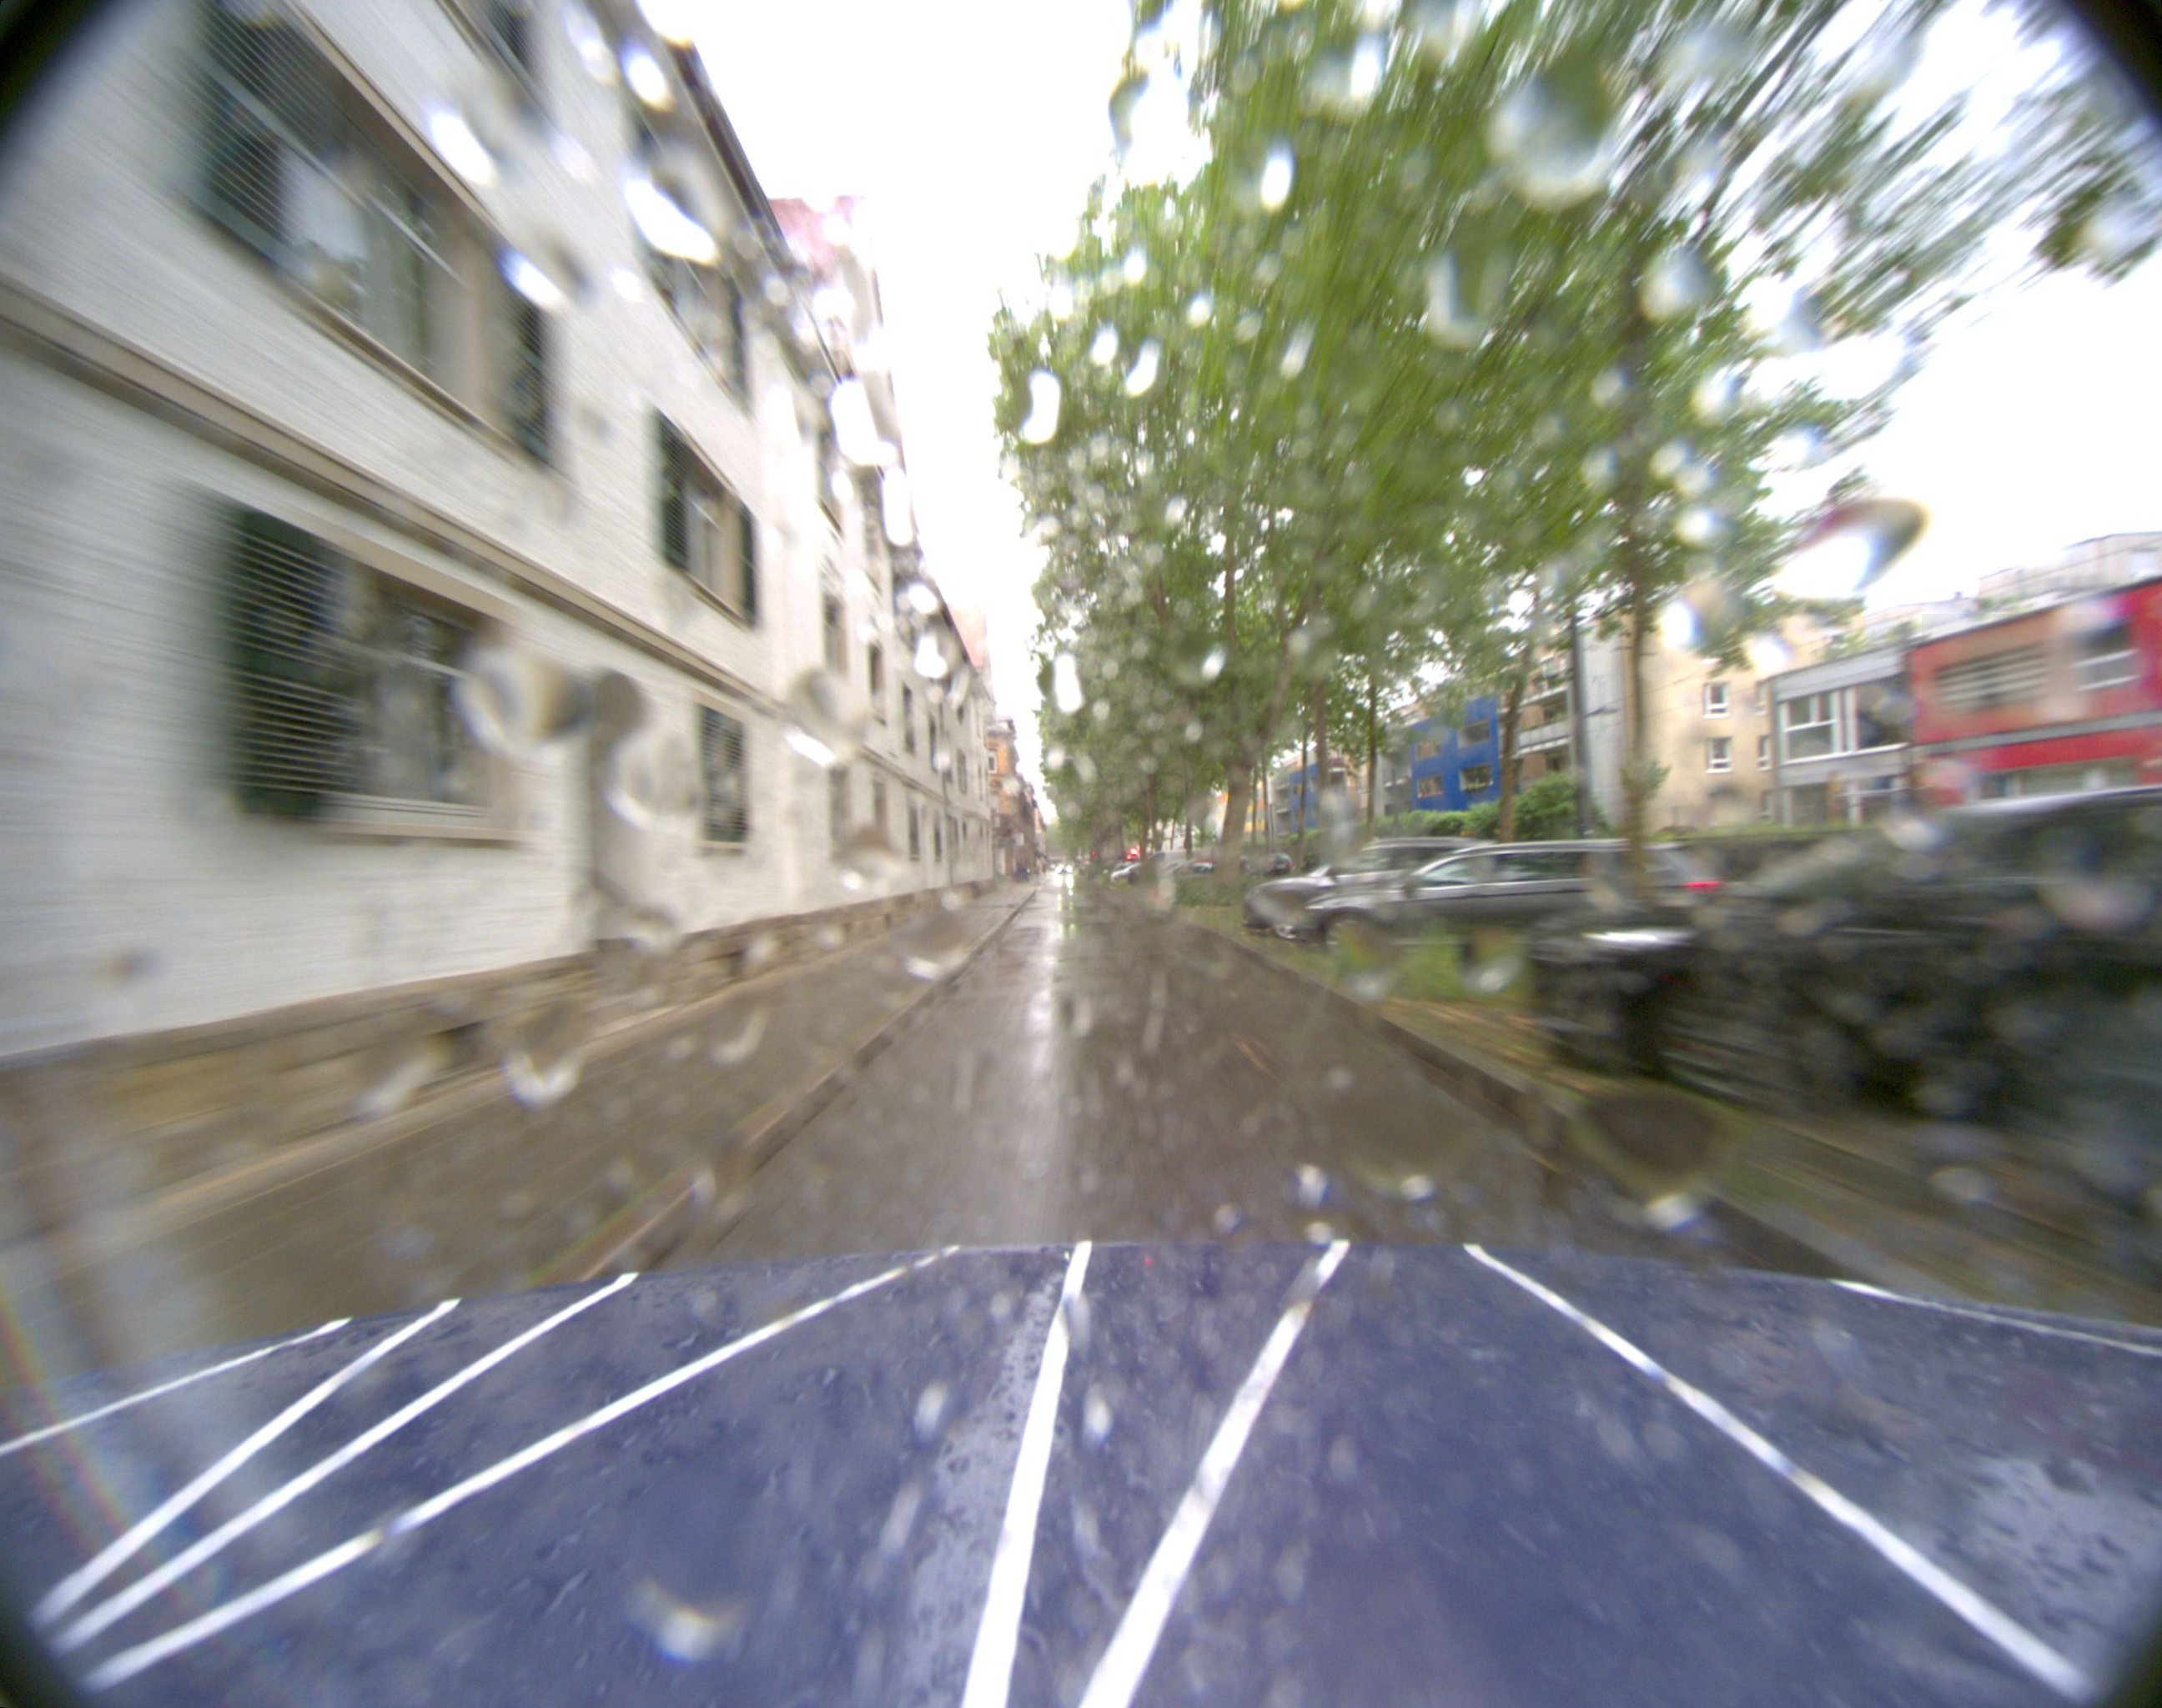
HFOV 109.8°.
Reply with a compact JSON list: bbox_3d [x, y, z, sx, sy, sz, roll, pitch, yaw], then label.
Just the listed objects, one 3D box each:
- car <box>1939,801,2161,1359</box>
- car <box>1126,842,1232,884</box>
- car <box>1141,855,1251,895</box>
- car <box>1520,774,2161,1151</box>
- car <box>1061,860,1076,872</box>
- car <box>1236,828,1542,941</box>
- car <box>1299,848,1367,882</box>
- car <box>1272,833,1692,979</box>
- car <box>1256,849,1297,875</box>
[{"bbox_3d":[4.914,0.576,1.261,4.220,1.532,1.934,-1,1,29],"label":"car"},{"bbox_3d":[4.905,0.469,38.192,4.880,2.002,2.004,-1,1,29],"label":"car"},{"bbox_3d":[4.524,0.816,29.975,3.991,1.477,1.662,-1,1,21],"label":"car"},{"bbox_3d":[4.821,0.452,4.087,4.220,1.601,1.752,-1,1,29],"label":"car"},{"bbox_3d":[-1.774,1.662,108.818,1.851,1.586,4.216,-3,0,1],"label":"car"},{"bbox_3d":[4.915,0.465,12.465,4.323,1.603,1.751,-1,1,24],"label":"car"},{"bbox_3d":[11.644,0.467,35.371,1.692,1.439,3.999,-2,0,-2],"label":"car"},{"bbox_3d":[4.827,0.561,9.620,4.322,1.499,1.752,-1,1,31],"label":"car"},{"bbox_3d":[11.593,0.461,45.296,1.691,1.439,4.001,-1,0,4],"label":"car"}]
